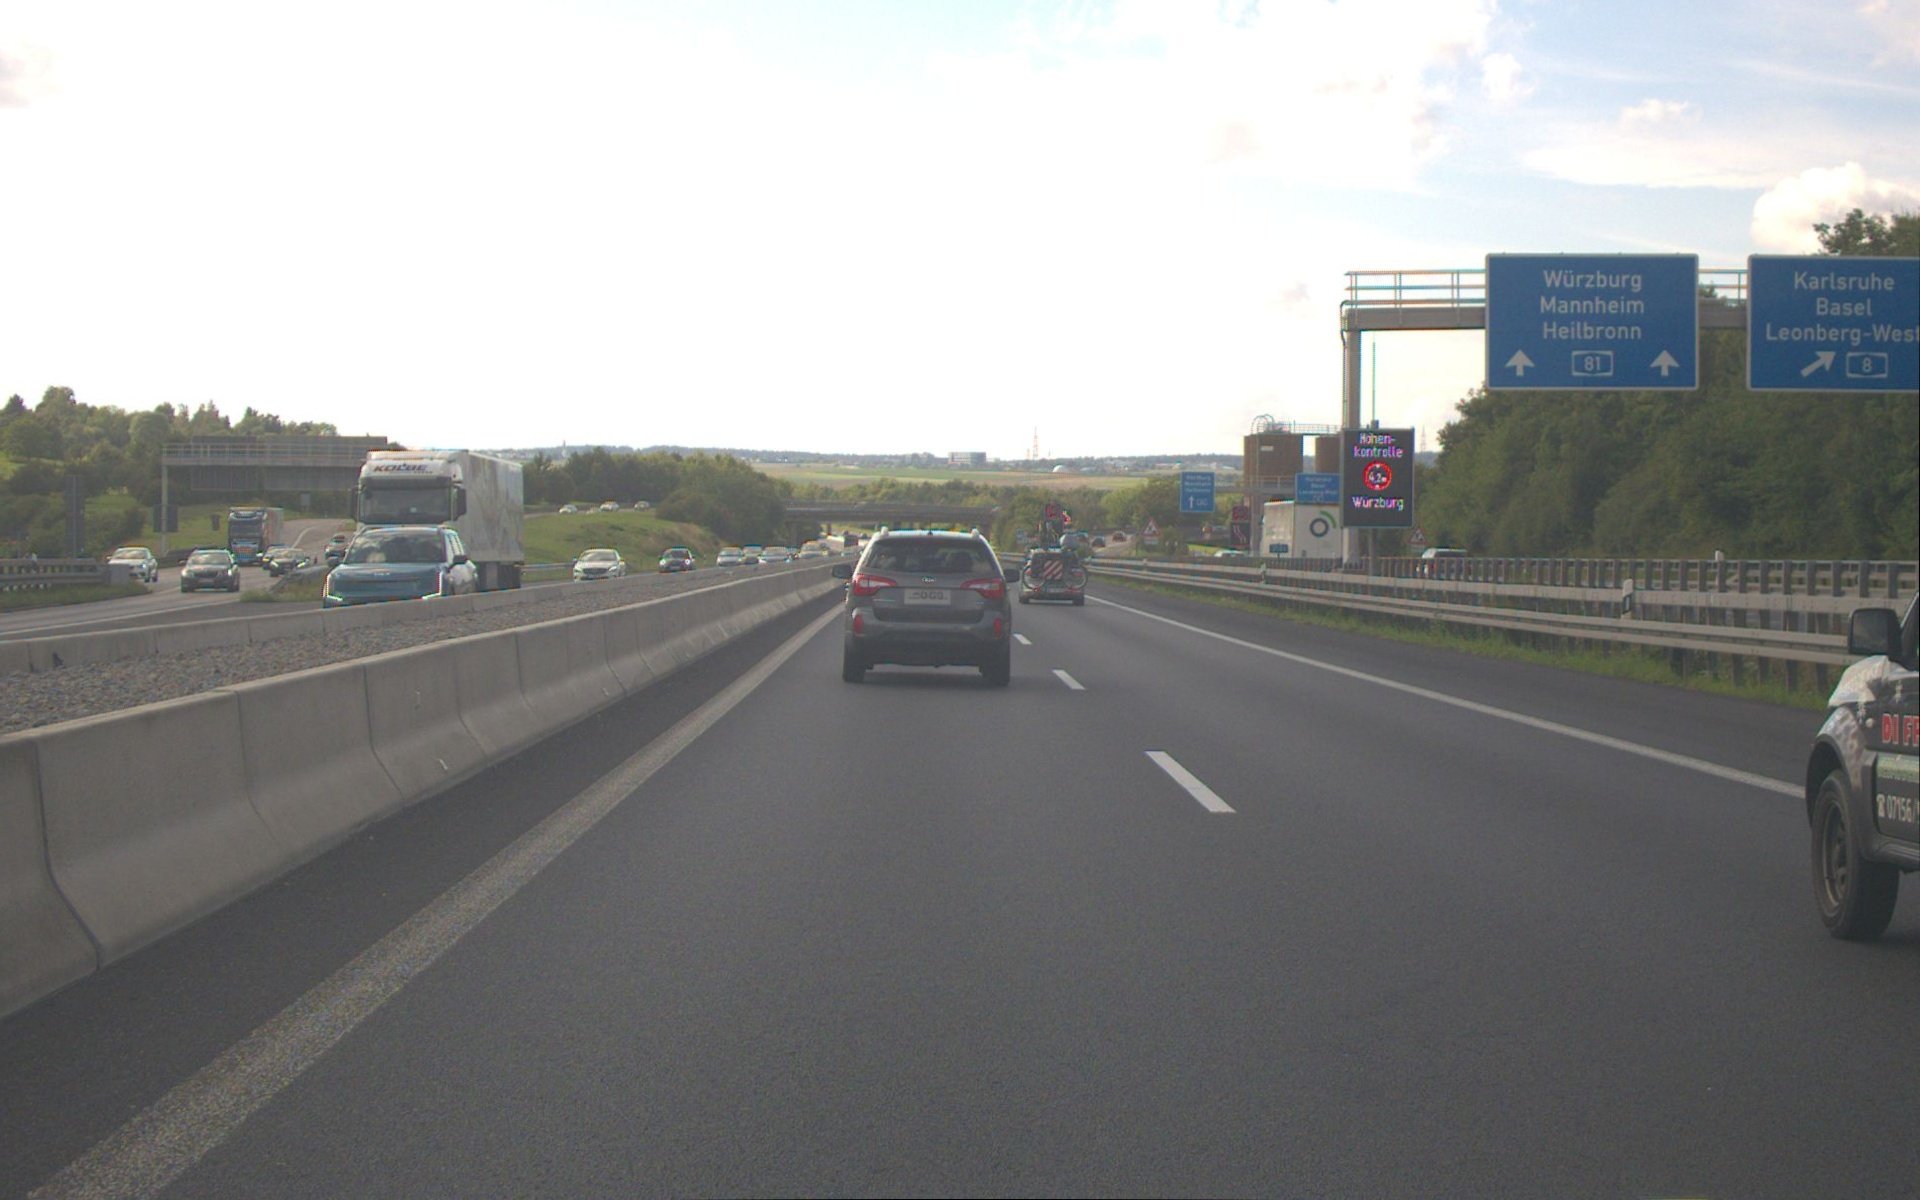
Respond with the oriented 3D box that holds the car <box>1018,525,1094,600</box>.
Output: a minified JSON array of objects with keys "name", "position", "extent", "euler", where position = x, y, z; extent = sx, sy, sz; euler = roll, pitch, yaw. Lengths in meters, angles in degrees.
[{"name":"car","position":[2.689,-1.066,97.398],"extent":[1.993,2.073,4.000],"euler":[0,1,-1]}]

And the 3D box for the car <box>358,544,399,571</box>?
[{"name":"car","position":[-35.613,-2.612,210.559],"extent":[1.801,1.612,4.302],"euler":[0,1,-1]}]

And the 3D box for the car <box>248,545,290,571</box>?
[{"name":"car","position":[-43.230,-2.624,215.098],"extent":[1.801,1.612,4.302],"euler":[0,1,-1]}]

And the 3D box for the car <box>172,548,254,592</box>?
[{"name":"car","position":[-25.744,-1.050,118.569],"extent":[1.942,1.489,4.128],"euler":[0,1,-1]}]

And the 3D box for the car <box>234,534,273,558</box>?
[{"name":"car","position":[-48.309,-3.704,235.243],"extent":[1.801,1.612,4.302],"euler":[0,1,-1]}]

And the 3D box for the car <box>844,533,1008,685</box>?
[{"name":"car","position":[-0.345,0.070,38.771],"extent":[1.750,1.625,3.609],"euler":[0,1,1]}]

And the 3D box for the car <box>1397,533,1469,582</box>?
[{"name":"car","position":[16.979,-1.541,123.663],"extent":[1.993,1.711,4.000],"euler":[0,1,-1]}]

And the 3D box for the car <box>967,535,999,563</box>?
[{"name":"car","position":[1.470,-3.314,224.610],"extent":[1.975,1.773,4.120],"euler":[0,1,-1]}]

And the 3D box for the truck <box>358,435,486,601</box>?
[{"name":"truck","position":[-13.757,-2.084,88.231],"extent":[2.488,4.115,5.299],"euler":[0,1,-1]}]

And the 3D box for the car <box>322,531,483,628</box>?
[{"name":"car","position":[-8.970,-0.341,55.725],"extent":[1.847,1.489,4.973],"euler":[0,1,-1]}]

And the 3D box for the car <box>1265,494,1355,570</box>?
[{"name":"car","position":[17.314,-3.336,170.677],"extent":[3.576,3.664,7.549],"euler":[0,1,-1]}]

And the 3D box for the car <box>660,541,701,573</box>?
[{"name":"car","position":[-14.523,-2.223,178.538],"extent":[1.801,1.612,4.302],"euler":[0,1,-1]}]

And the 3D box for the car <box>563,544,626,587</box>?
[{"name":"car","position":[-14.285,-1.361,134.534],"extent":[1.993,1.612,5.002],"euler":[0,1,-1]}]

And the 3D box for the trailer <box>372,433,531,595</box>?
[{"name":"trailer","position":[-13.805,-2.272,94.319],"extent":[2.488,4.115,13.283],"euler":[0,1,-1]}]

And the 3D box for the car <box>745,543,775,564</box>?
[{"name":"car","position":[-14.694,-3.421,252.670],"extent":[1.993,1.527,4.507],"euler":[0,1,-1]}]

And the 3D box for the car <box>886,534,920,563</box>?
[{"name":"car","position":[-3.764,-3.417,228.200],"extent":[2.169,1.837,4.000],"euler":[0,1,1]}]

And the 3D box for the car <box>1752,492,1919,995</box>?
[{"name":"car","position":[4.140,0.496,12.304],"extent":[1.666,1.726,4.207],"euler":[1,1,1]}]

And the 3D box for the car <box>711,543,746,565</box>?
[{"name":"car","position":[-14.989,-2.975,222.705],"extent":[1.993,1.451,4.181],"euler":[0,1,-1]}]
